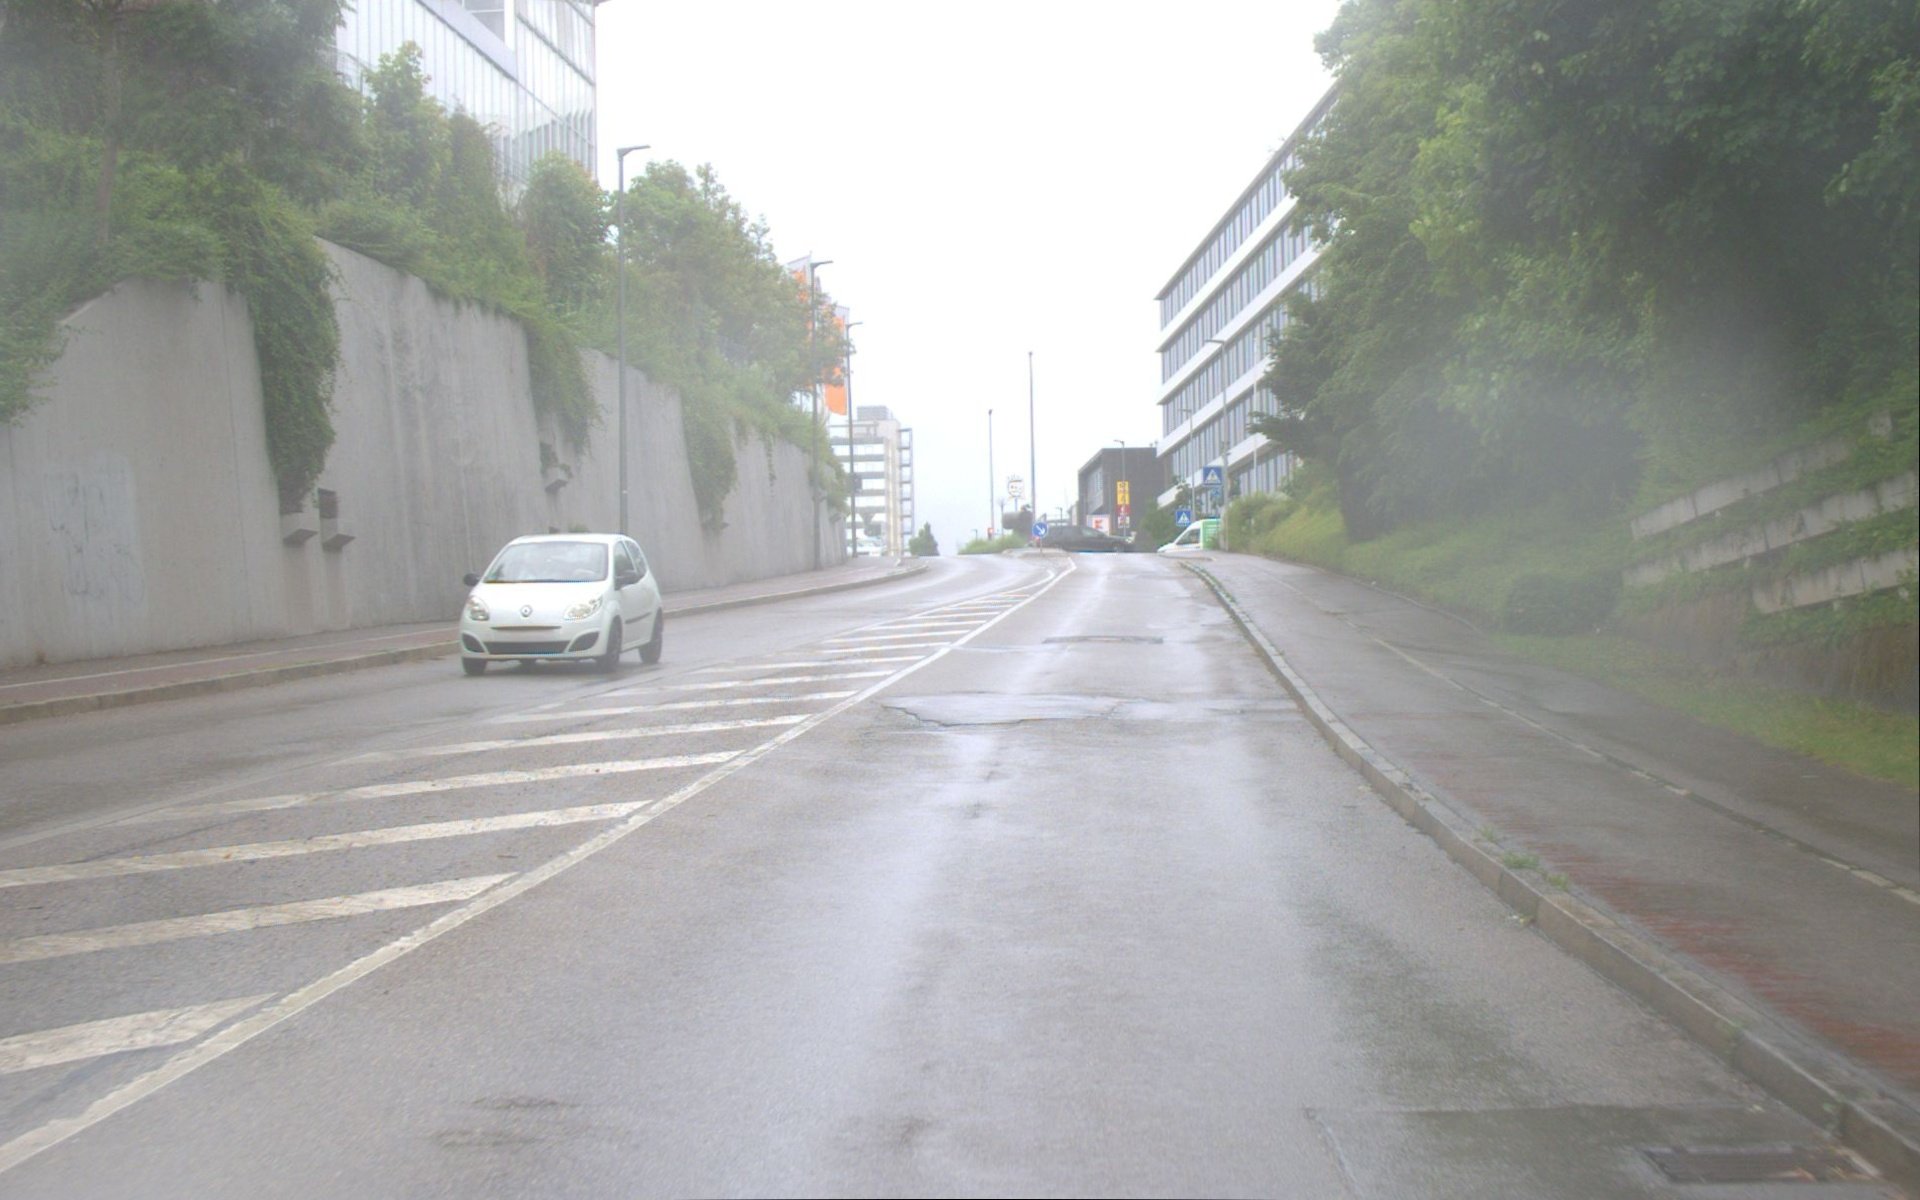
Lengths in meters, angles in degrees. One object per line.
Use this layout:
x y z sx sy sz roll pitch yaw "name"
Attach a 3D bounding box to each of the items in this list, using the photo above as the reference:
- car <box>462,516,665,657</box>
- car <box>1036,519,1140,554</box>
-4.242 -0.128 37.265 1.513 1.443 3.816 0 0 4 "car"
5.558 -2.757 149.222 4.205 1.405 1.799 0 -2 15 "car"
